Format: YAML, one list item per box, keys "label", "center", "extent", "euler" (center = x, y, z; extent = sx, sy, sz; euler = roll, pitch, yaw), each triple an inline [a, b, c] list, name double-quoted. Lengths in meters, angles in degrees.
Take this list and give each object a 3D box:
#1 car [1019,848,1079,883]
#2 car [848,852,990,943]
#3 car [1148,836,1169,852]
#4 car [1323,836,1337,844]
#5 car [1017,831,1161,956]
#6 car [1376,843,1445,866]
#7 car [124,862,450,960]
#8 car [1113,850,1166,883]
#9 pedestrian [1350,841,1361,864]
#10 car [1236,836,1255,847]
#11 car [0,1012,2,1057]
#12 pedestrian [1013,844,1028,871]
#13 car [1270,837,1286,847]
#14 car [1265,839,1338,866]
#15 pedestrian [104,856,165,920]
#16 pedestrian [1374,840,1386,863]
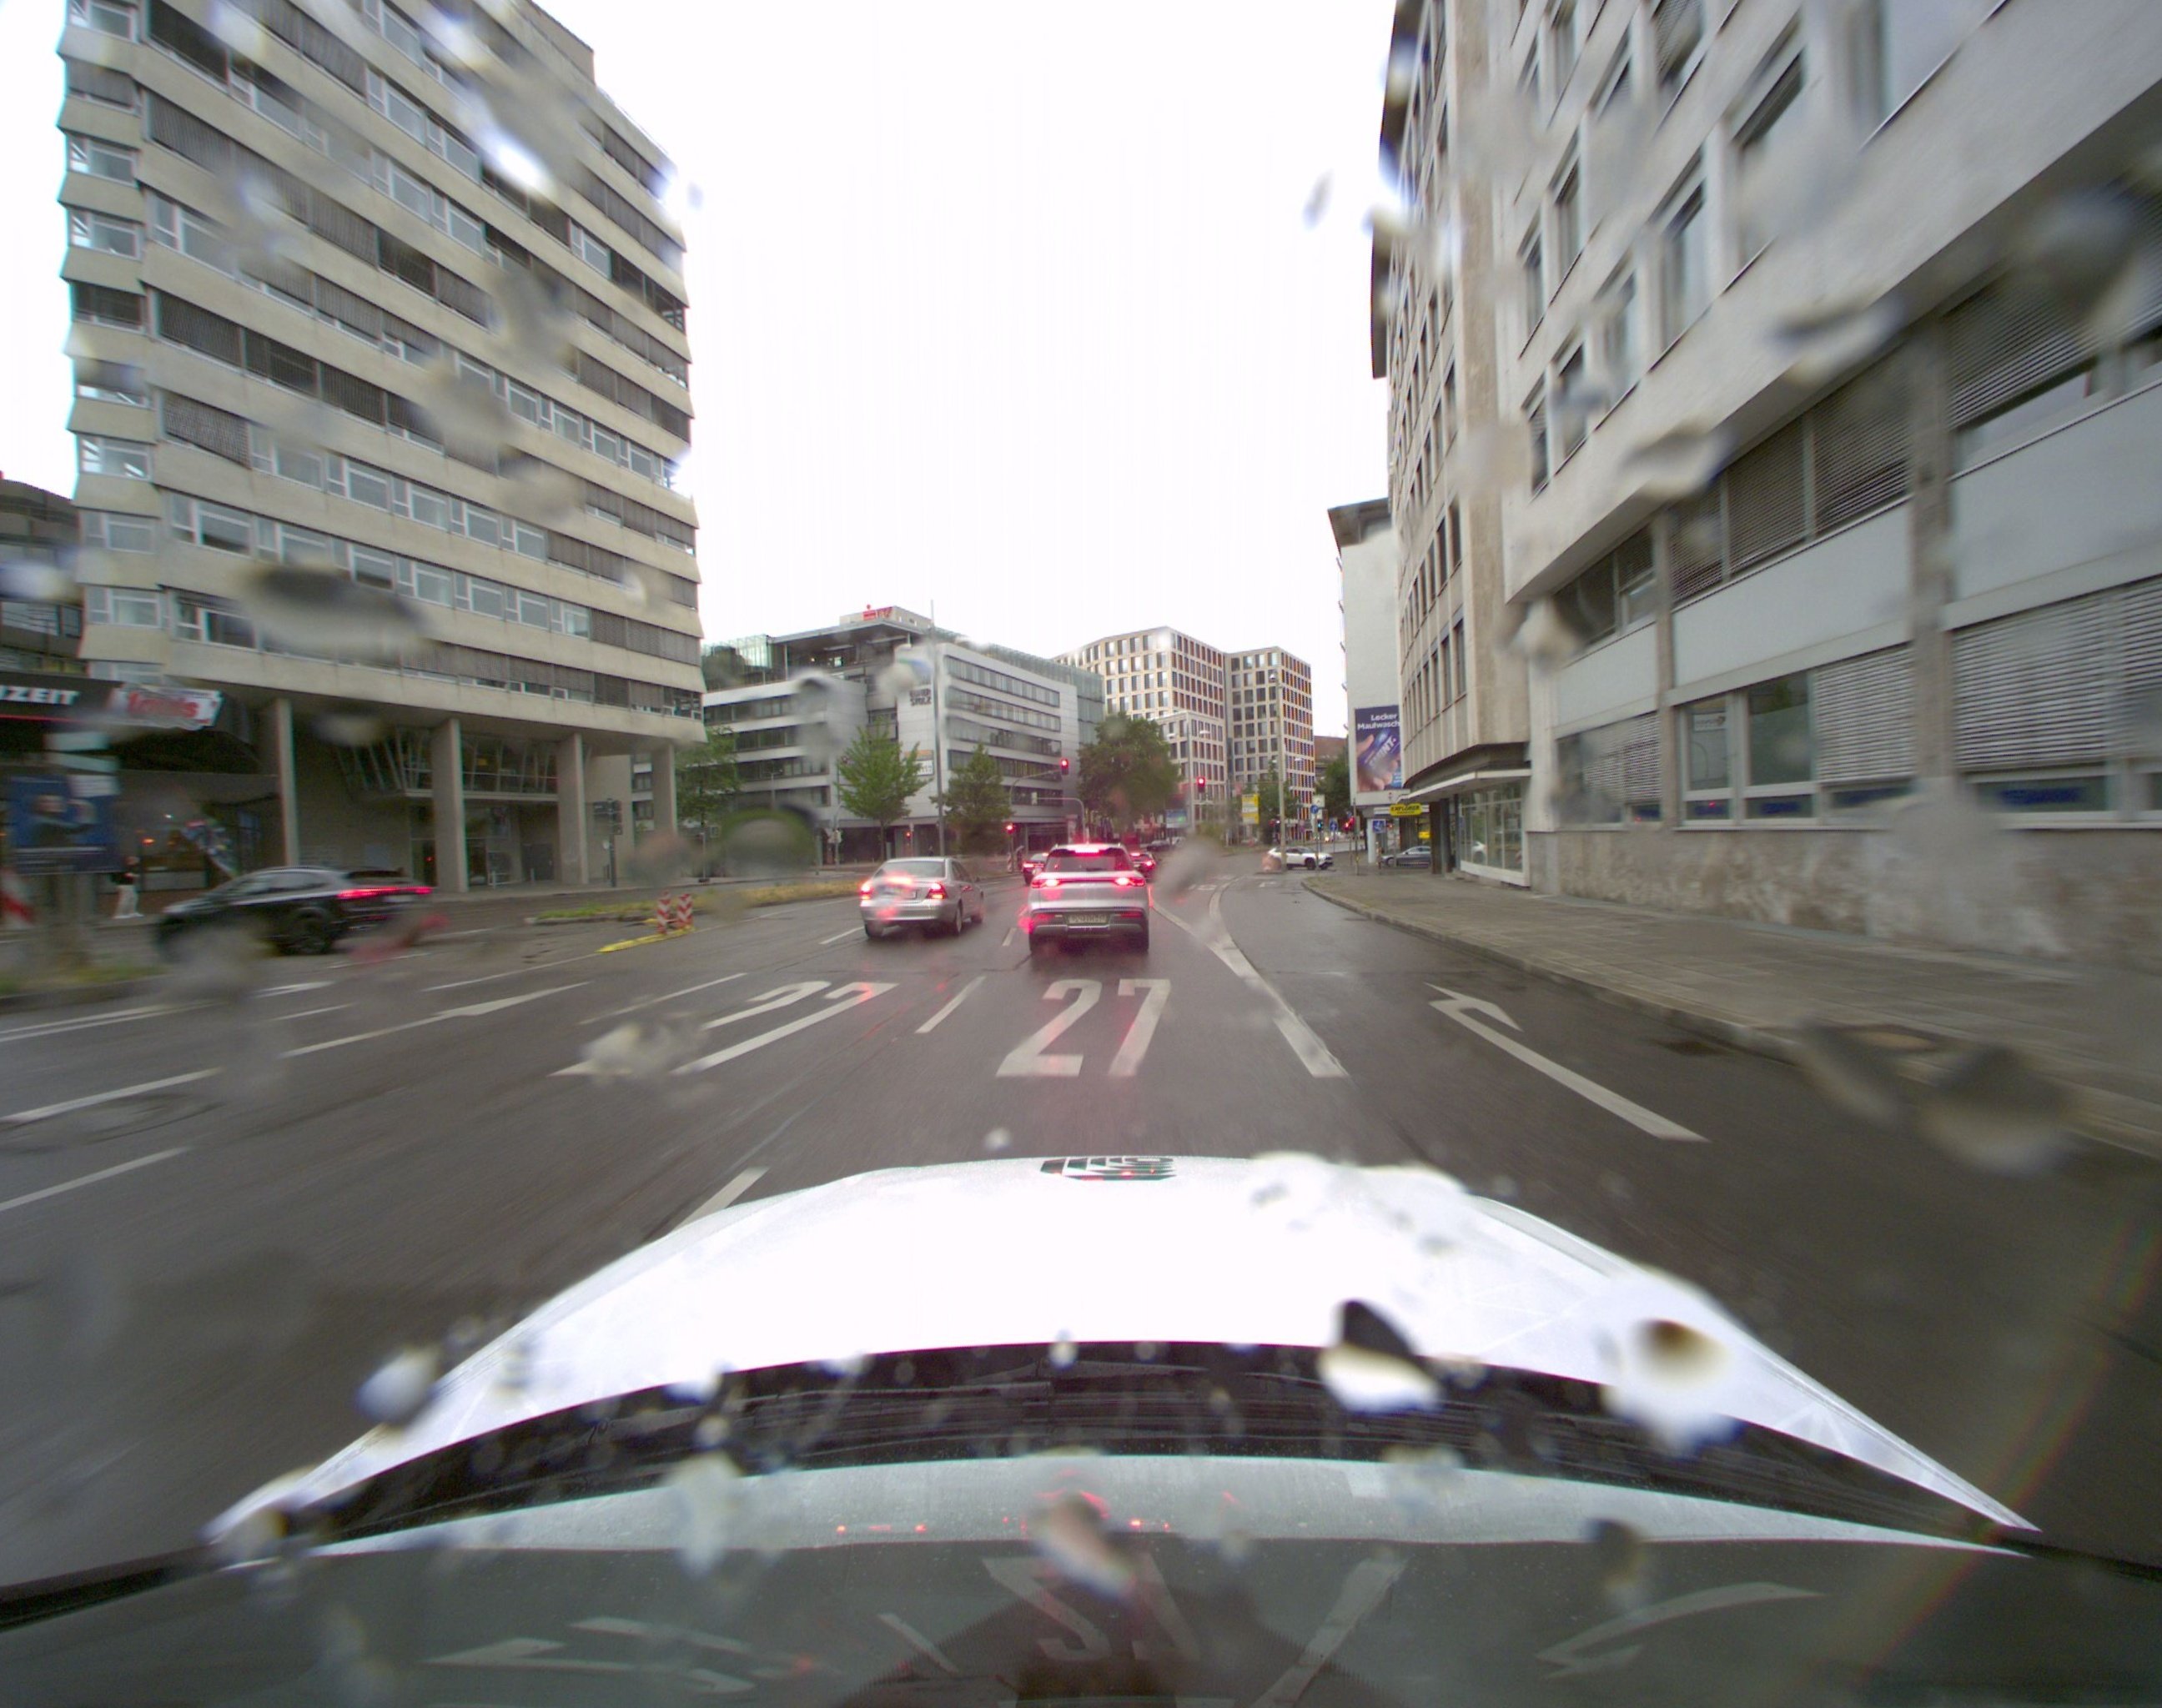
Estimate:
- label: "car"
  center: [-1.463, 0.506, 38.955]
  extent: [1.942, 1.530, 4.013]
  euler: [-1, 0, 11]
- label: "car"
  center: [-2.979, 0.728, 15.899]
  extent: [1.675, 1.486, 4.200]
  euler: [-1, 0, 3]
- label: "car"
  center: [10.946, -1.372, 115.053]
  extent: [1.722, 2.161, 4.517]
  euler: [0, 0, 21]
- label: "car"
  center: [55.499, -3.113, 181.517]
  extent: [1.974, 1.705, 4.026]
  euler: [-1, 2, 29]
- label: "car"
  center: [0.122, 0.544, 13.677]
  extent: [1.987, 1.709, 4.482]
  euler: [-1, 0, 0]
- label: "car"
  center: [22.726, 0.011, 56.191]
  extent: [4.304, 1.510, 1.927]
  euler: [0, 1, 23]
- label: "car"
  center: [-14.127, 0.984, 14.602]
  extent: [4.438, 1.544, 2.007]
  euler: [-1, 0, 12]
- label: "car"
  center: [2.981, 0.578, 40.728]
  extent: [1.941, 1.530, 4.016]
  euler: [-1, 0, 14]
- label: "pedestrian"
  center: [20.700, -0.127, 61.384]
  extent: [0.721, 1.668, 0.694]
  euler: [-1, -1, 19]
- label: "car"
  center: [28.968, -2.169, 143.307]
  extent: [1.974, 1.705, 4.336]
  euler: [0, 2, 30]
- label: "car"
  center: [-9.345, 0.905, 3.919]
  extent: [1.830, 1.450, 4.694]
  euler: [-2, 1, 4]
- label: "pedestrian"
  center: [-3.918, 0.224, 52.685]
  extent: [0.919, 1.738, 0.729]
  euler: [-1, 0, -2]
- label: "car"
  center: [39.135, -2.372, 161.598]
  extent: [1.974, 1.705, 4.336]
  euler: [0, 2, 30]
- label: "car"
  center: [15.009, -0.068, 55.580]
  extent: [2.010, 1.750, 4.478]
  euler: [-2, 1, -40]
- label: "pedestrian"
  center: [-27.610, 0.983, 23.767]
  extent: [0.721, 1.832, 0.929]
  euler: [-1, 0, 19]
- label: "pedestrian"
  center: [22.318, -0.164, 60.812]
  extent: [0.759, 1.678, 0.734]
  euler: [-1, 0, 26]
